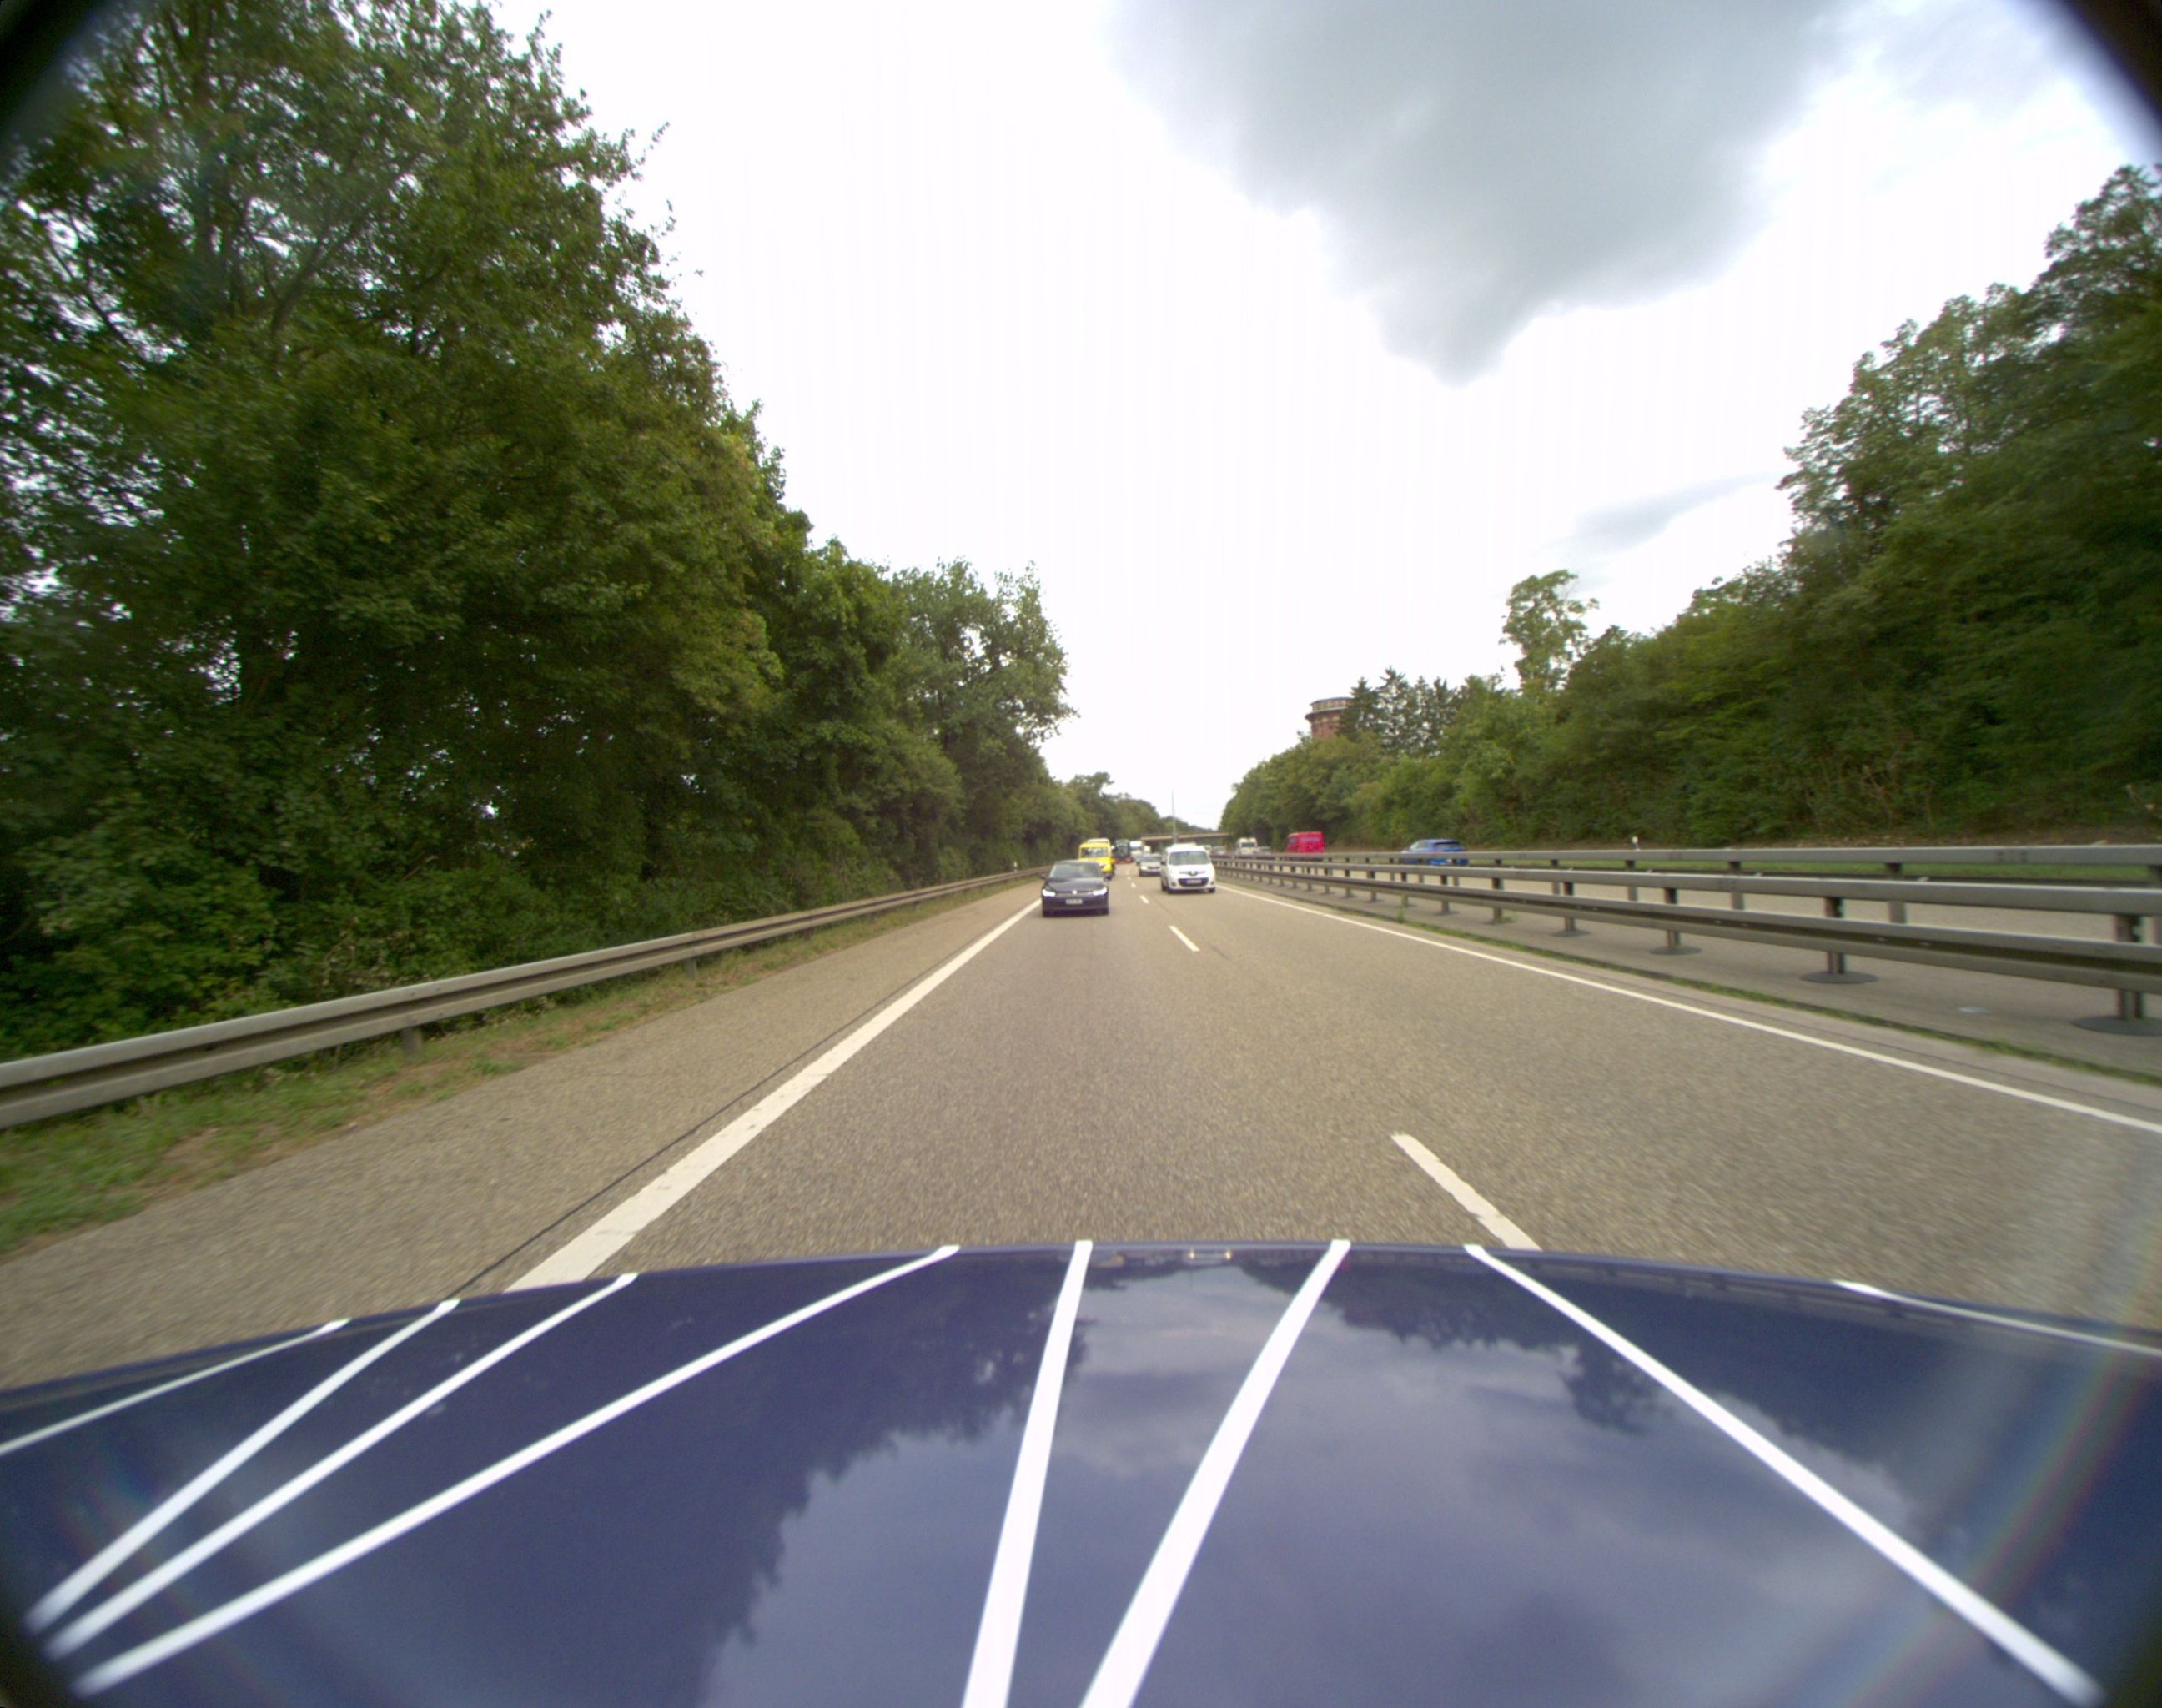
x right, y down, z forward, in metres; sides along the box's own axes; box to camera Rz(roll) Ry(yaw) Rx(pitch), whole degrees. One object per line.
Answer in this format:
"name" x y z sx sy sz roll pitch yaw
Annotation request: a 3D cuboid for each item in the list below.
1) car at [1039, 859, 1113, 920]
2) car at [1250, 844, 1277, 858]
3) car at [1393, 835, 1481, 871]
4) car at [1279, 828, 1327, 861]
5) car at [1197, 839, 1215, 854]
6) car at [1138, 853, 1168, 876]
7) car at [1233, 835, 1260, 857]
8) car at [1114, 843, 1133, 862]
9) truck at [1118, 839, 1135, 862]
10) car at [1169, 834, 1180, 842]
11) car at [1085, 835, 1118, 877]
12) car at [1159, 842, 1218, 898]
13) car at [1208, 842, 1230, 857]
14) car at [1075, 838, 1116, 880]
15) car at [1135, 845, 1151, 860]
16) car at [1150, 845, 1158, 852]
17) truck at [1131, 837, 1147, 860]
"car" -0.044 0.909 21.247 1.800 1.398 4.639 -2 1 2
"car" 18.496 -0.315 77.092 1.779 1.289 4.107 -2 0 2
"car" 16.298 -0.051 35.087 1.998 1.501 4.505 -2 0 1
"car" 16.494 -0.696 56.694 2.071 2.243 5.375 -2 1 1
"car" 17.098 -1.003 103.901 1.826 1.972 5.058 -2 0 2
"car" 4.850 0.685 51.494 1.772 1.416 4.198 -2 0 3
"car" 20.375 -0.966 93.795 2.317 2.596 5.553 -2 1 2
"car" 4.270 -0.155 76.039 1.678 1.763 3.937 -2 1 1
"truck" 7.468 -0.615 123.900 2.547 3.564 6.458 -2 1 4
"car" 20.981 -3.582 170.210 2.039 1.793 5.124 -2 0 3
"car" 1.442 0.114 54.690 2.207 2.732 6.167 -2 1 1
"car" 4.082 0.561 29.511 1.821 1.993 4.423 -2 1 3
"car" 14.985 -0.455 82.485 1.786 1.554 4.015 -2 0 2
"car" 0.856 0.274 45.954 2.248 2.334 5.224 -2 1 1
"car" 8.012 -0.211 98.428 1.678 1.763 3.937 -2 1 1
"car" 18.378 -1.341 191.060 1.680 1.840 4.001 -2 1 3
"truck" 12.365 -1.176 161.680 3.098 4.462 12.212 -2 0 4
